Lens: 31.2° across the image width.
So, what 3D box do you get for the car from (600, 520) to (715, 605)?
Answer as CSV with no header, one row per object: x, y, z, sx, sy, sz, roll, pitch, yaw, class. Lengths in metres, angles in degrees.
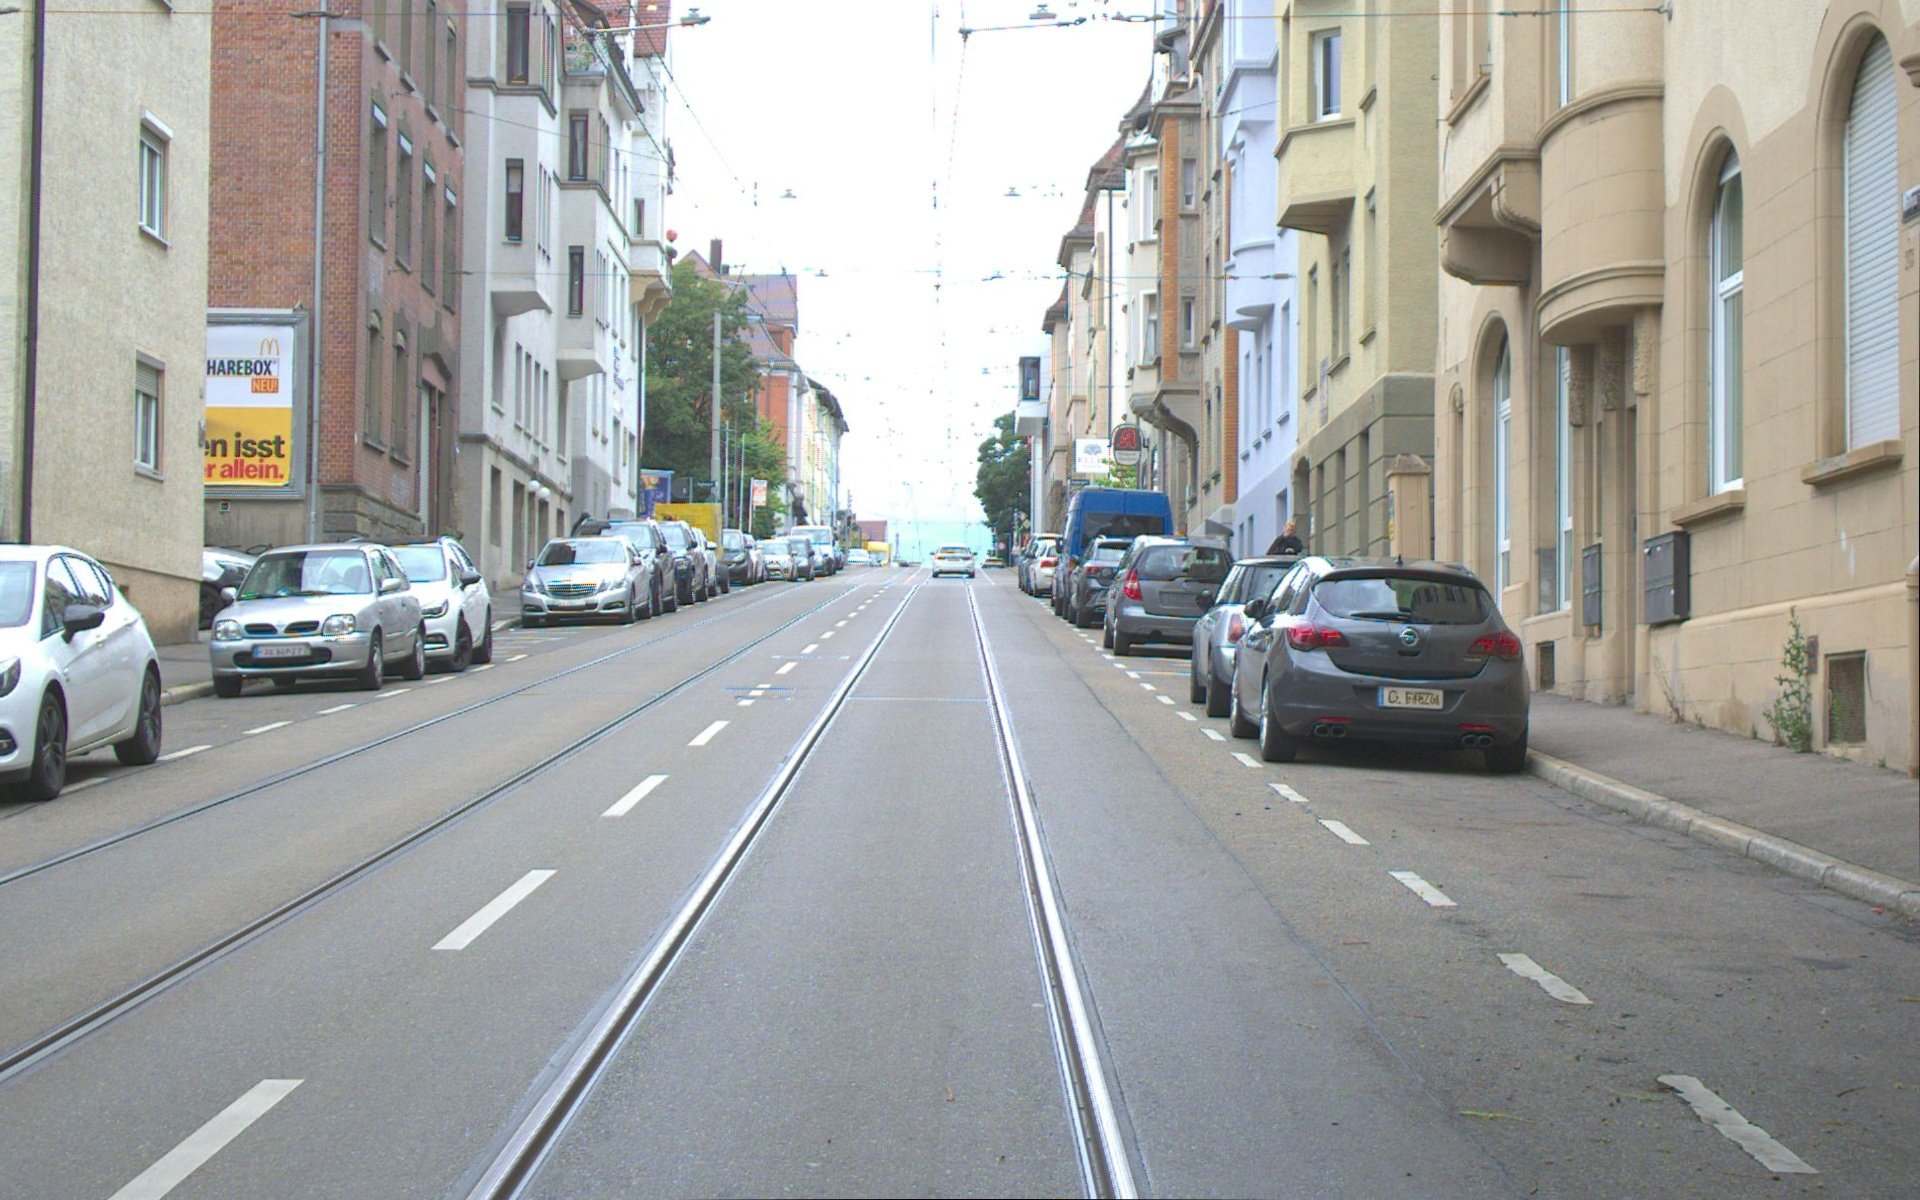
-6.269,-0.806,71.647,1.873,1.658,4.892,-1,1,1,car

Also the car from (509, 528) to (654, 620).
-6.296,-0.468,57.638,1.827,1.424,4.839,-1,1,1,car

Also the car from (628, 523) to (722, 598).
-6.403,-0.917,77.520,1.697,1.588,4.268,-1,1,1,car

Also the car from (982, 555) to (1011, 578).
2.580,-2.396,243.564,1.993,1.558,4.290,1,1,1,car

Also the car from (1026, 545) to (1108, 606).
2.639,-0.630,85.571,1.750,1.386,4.308,3,1,-1,car

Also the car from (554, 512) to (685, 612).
-6.209,-0.735,63.160,1.827,1.712,4.913,-1,1,1,car

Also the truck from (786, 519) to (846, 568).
-6.637,-2.599,159.063,2.280,2.180,8.025,1,1,1,truck

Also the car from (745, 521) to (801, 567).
-7.192,-2.155,132.669,1.744,1.730,4.519,-1,1,2,car

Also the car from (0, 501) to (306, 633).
-12.505,-0.494,51.242,5.173,1.812,1.941,-2,1,-4,car

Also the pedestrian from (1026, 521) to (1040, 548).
4.466,-3.994,210.256,0.791,1.661,0.798,1,1,2,pedestrian

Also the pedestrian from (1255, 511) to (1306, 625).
4.854,-0.475,52.084,0.540,1.676,0.516,-4,-1,-8,pedestrian

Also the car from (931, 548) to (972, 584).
-0.392,-1.490,148.721,1.672,1.508,3.798,1,1,-1,car

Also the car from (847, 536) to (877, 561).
-6.413,-3.365,225.387,1.855,1.601,4.297,1,1,0,car

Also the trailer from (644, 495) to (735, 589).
-6.410,-1.396,81.685,1.748,2.148,4.071,-1,1,1,trailer

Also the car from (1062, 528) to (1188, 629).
2.768,-0.381,58.484,1.779,1.525,4.192,4,1,-1,car

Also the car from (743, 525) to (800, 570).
-6.621,-1.855,121.051,1.697,1.550,3.850,1,1,2,car

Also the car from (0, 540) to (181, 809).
-5.984,0.392,20.328,1.719,1.398,4.314,-2,1,0,car

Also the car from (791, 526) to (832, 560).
-6.498,-2.495,150.800,1.697,1.428,4.482,-1,1,-1,car

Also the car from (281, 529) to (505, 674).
-6.250,-0.032,38.332,1.827,1.424,4.628,-3,1,-2,car

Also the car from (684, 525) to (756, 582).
-6.498,-1.267,93.303,1.697,1.463,3.023,-1,1,1,car

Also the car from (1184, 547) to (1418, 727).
2.995,0.287,30.860,1.695,1.399,3.667,3,1,0,car

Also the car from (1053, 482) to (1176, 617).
2.821,-0.928,63.701,1.993,2.368,5.056,1,1,0,car

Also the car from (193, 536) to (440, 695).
-6.277,0.110,33.879,1.600,1.363,3.807,-3,1,1,car

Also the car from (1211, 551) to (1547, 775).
2.916,0.396,24.741,1.839,1.398,4.167,3,1,0,car

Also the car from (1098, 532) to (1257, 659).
2.860,-0.098,45.931,1.827,1.513,4.028,3,1,0,car
